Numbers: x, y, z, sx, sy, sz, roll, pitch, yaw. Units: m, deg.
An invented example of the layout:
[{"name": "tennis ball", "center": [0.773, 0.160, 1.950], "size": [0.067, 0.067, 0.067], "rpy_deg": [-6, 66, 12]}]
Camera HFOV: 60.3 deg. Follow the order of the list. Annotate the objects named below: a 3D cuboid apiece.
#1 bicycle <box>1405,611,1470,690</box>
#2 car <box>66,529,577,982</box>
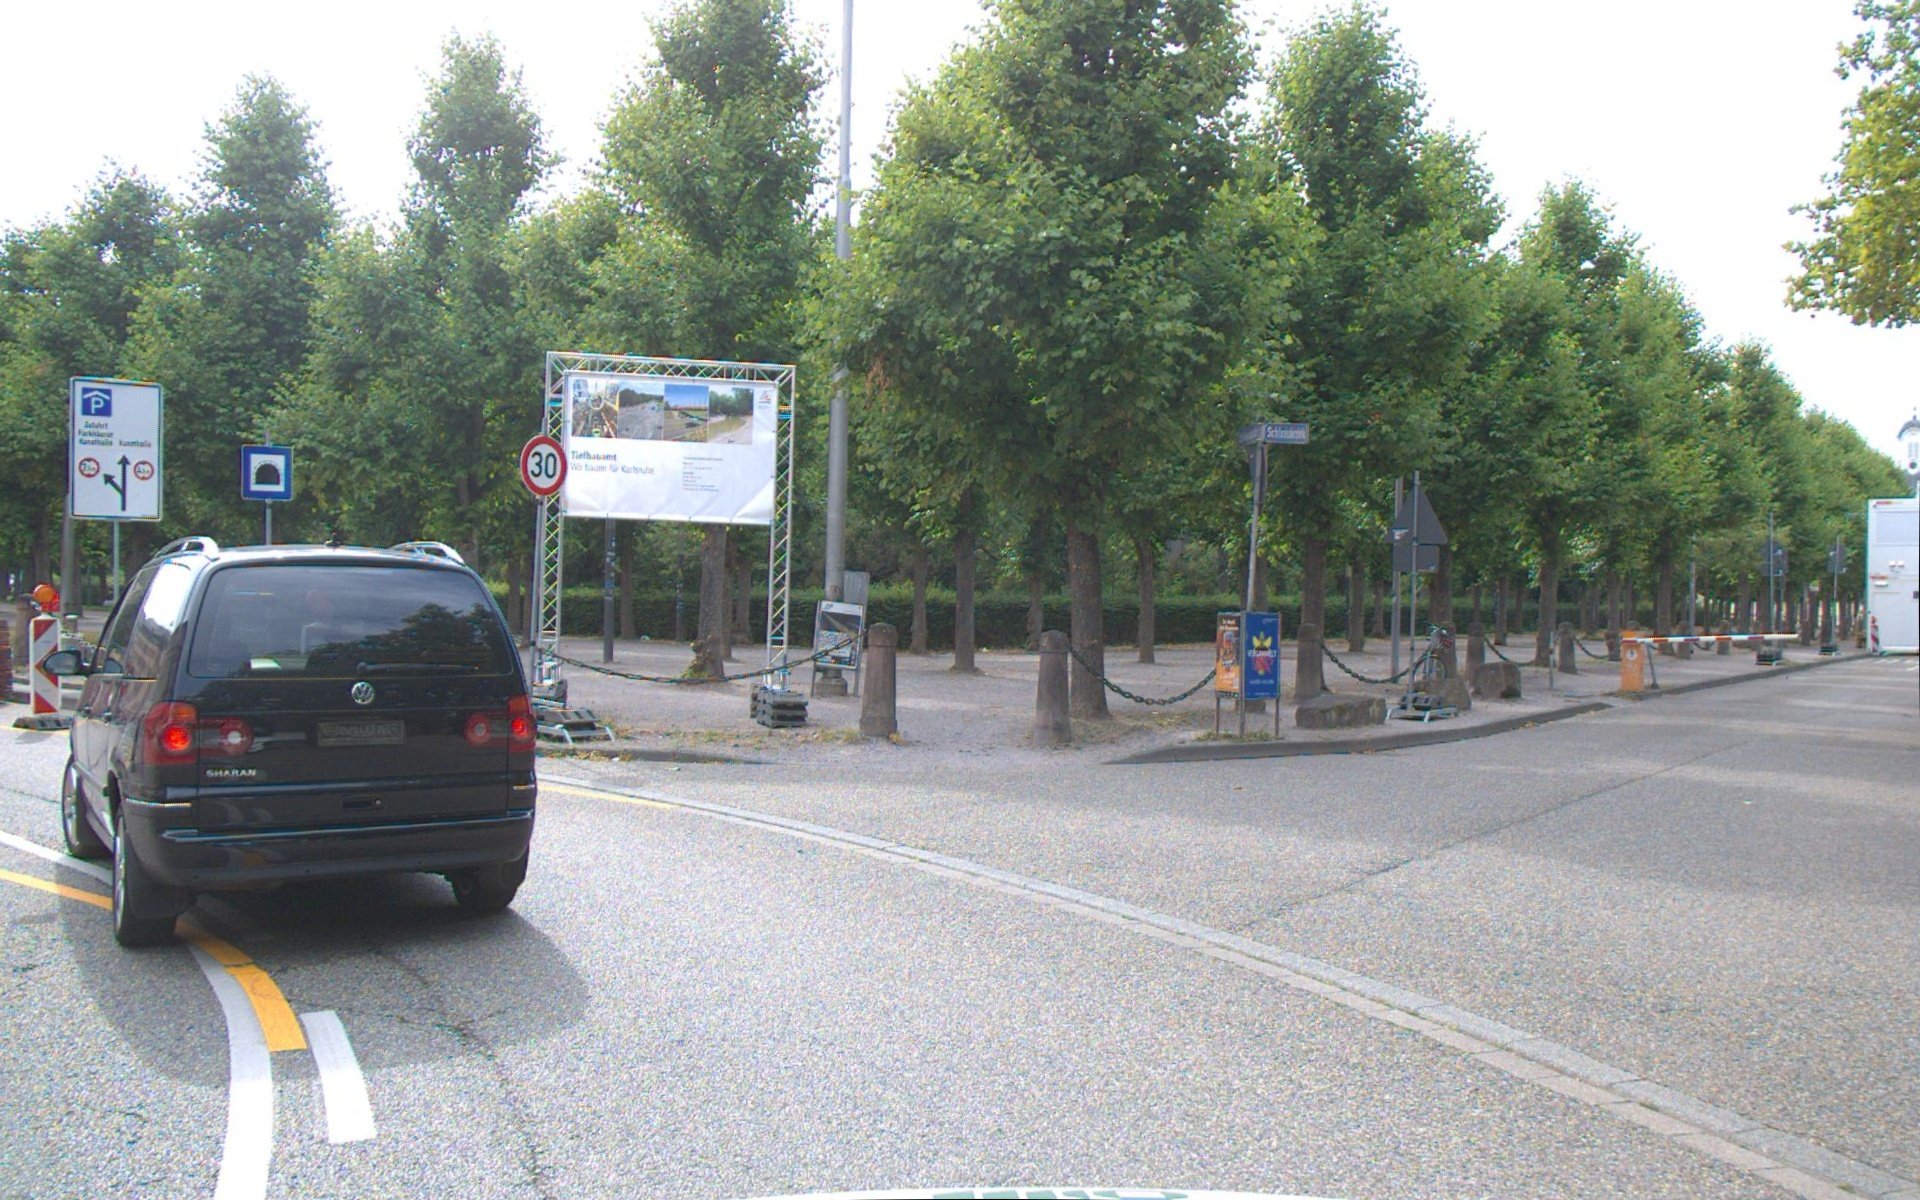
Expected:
[{"name": "bicycle", "center": [7.766, 0.782, 26.884], "size": [0.932, 1.129, 2.581], "rpy_deg": [2, 1, 16]}, {"name": "car", "center": [-3.505, 0.578, 8.565], "size": [1.776, 1.738, 4.086], "rpy_deg": [0, 0, -31]}]
